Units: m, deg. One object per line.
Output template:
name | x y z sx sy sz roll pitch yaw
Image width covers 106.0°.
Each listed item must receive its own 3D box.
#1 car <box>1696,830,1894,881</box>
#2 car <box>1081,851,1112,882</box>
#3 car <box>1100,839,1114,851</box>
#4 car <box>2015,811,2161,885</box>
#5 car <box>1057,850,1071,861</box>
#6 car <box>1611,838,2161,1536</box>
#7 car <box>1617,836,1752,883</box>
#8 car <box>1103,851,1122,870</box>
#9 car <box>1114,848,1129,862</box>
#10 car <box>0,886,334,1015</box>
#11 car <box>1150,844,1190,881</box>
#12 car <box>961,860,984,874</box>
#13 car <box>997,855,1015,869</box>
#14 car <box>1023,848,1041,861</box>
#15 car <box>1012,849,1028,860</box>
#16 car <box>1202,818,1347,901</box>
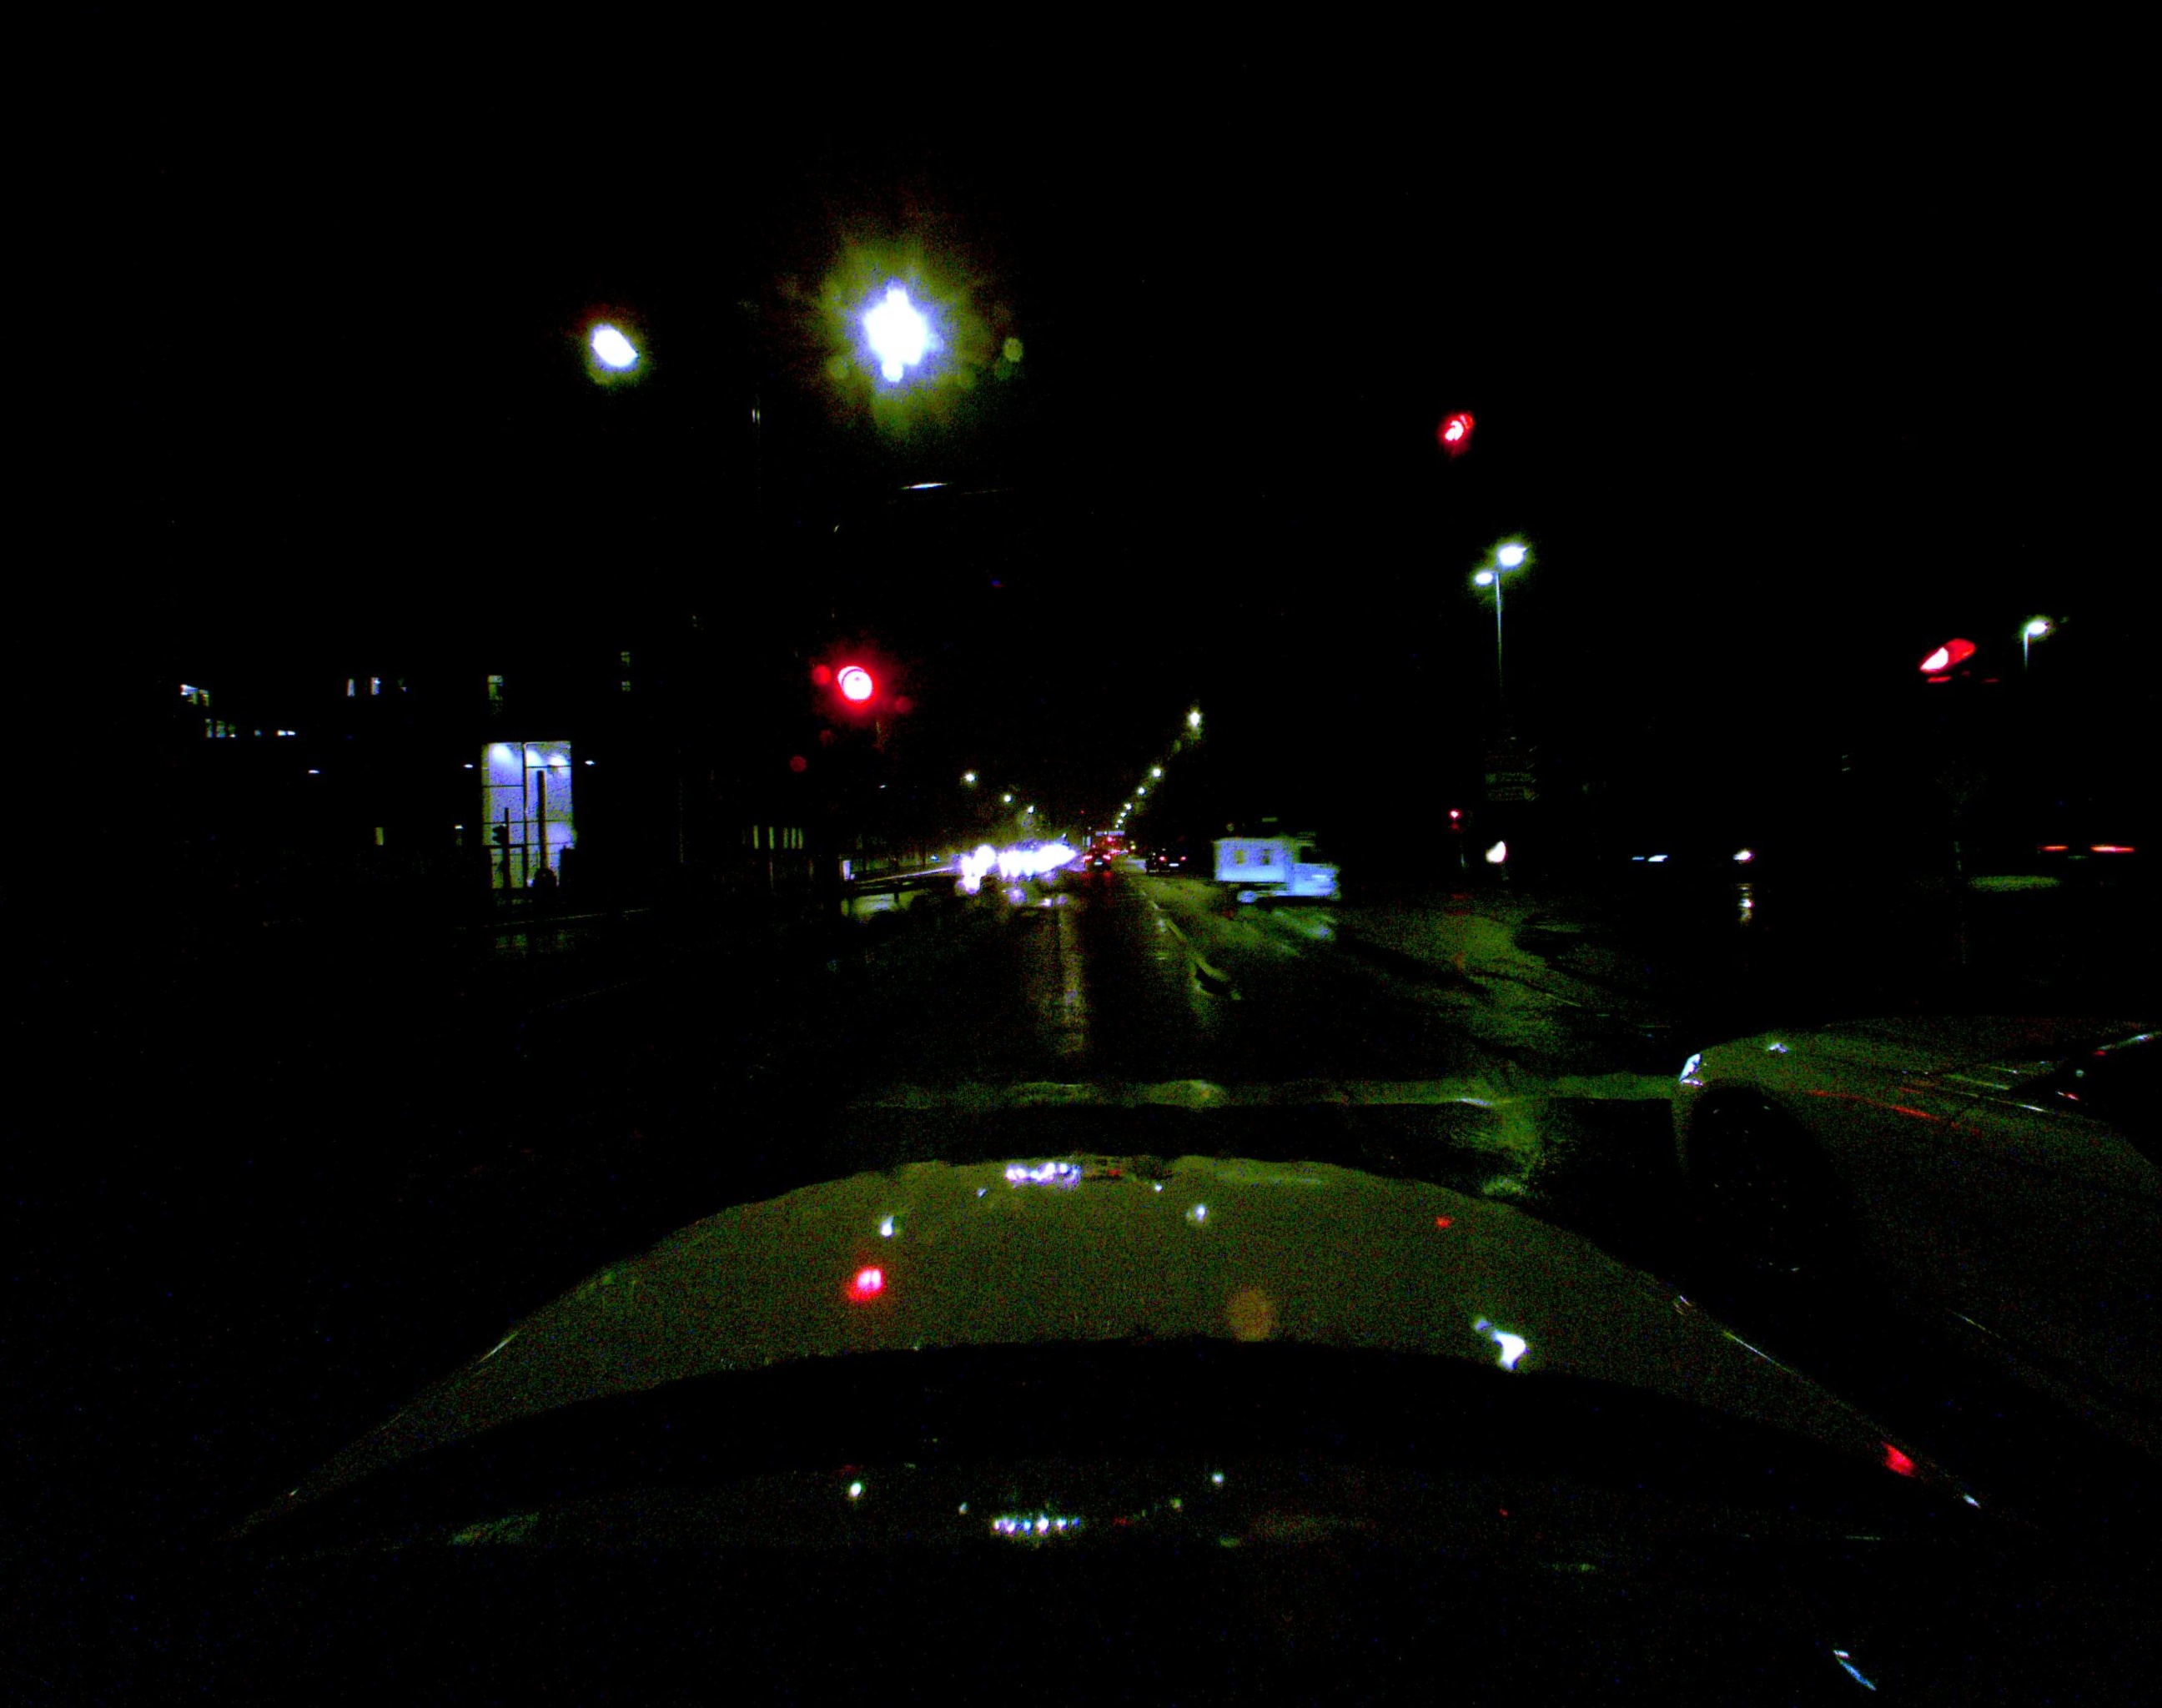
car | 24.133 0.078 27.698 4.823 1.590 1.857 -1 -1 8
car | 1.090 0.836 55.364 1.986 2.014 4.001 -1 -1 2
car | 5.019 -1.749 157.094 2.434 2.194 5.076 -1 -1 -1
car | 25.718 -0.149 19.337 4.375 1.672 1.964 -1 -1 10
car | -2.623 0.269 127.676 1.878 1.552 4.435 -1 -1 2
car | 3.135 0.694 1.296 1.714 1.446 4.383 -3 -1 1
car | 24.464 0.250 33.175 3.963 1.780 1.913 -1 -1 9
car | 3.512 0.750 91.053 2.030 2.082 4.309 -1 -1 2
car | 6.144 0.170 123.303 2.029 2.014 4.311 -1 -1 4
car | -13.848 1.278 12.044 1.817 1.464 4.001 -1 -1 2
car | 5.468 0.520 50.576 2.200 2.215 3.644 -1 -1 2
car | -12.014 1.446 90.399 1.794 1.564 4.001 -1 -1 2
car | -9.424 0.989 102.576 1.744 1.709 4.498 -3 -1 0
car | -6.235 0.073 104.801 1.878 1.552 4.435 -1 -1 2
car | -9.121 0.051 121.098 1.878 1.552 4.435 -1 -1 2
car | 5.105 0.172 21.397 3.527 2.014 1.712 -1 -1 19
